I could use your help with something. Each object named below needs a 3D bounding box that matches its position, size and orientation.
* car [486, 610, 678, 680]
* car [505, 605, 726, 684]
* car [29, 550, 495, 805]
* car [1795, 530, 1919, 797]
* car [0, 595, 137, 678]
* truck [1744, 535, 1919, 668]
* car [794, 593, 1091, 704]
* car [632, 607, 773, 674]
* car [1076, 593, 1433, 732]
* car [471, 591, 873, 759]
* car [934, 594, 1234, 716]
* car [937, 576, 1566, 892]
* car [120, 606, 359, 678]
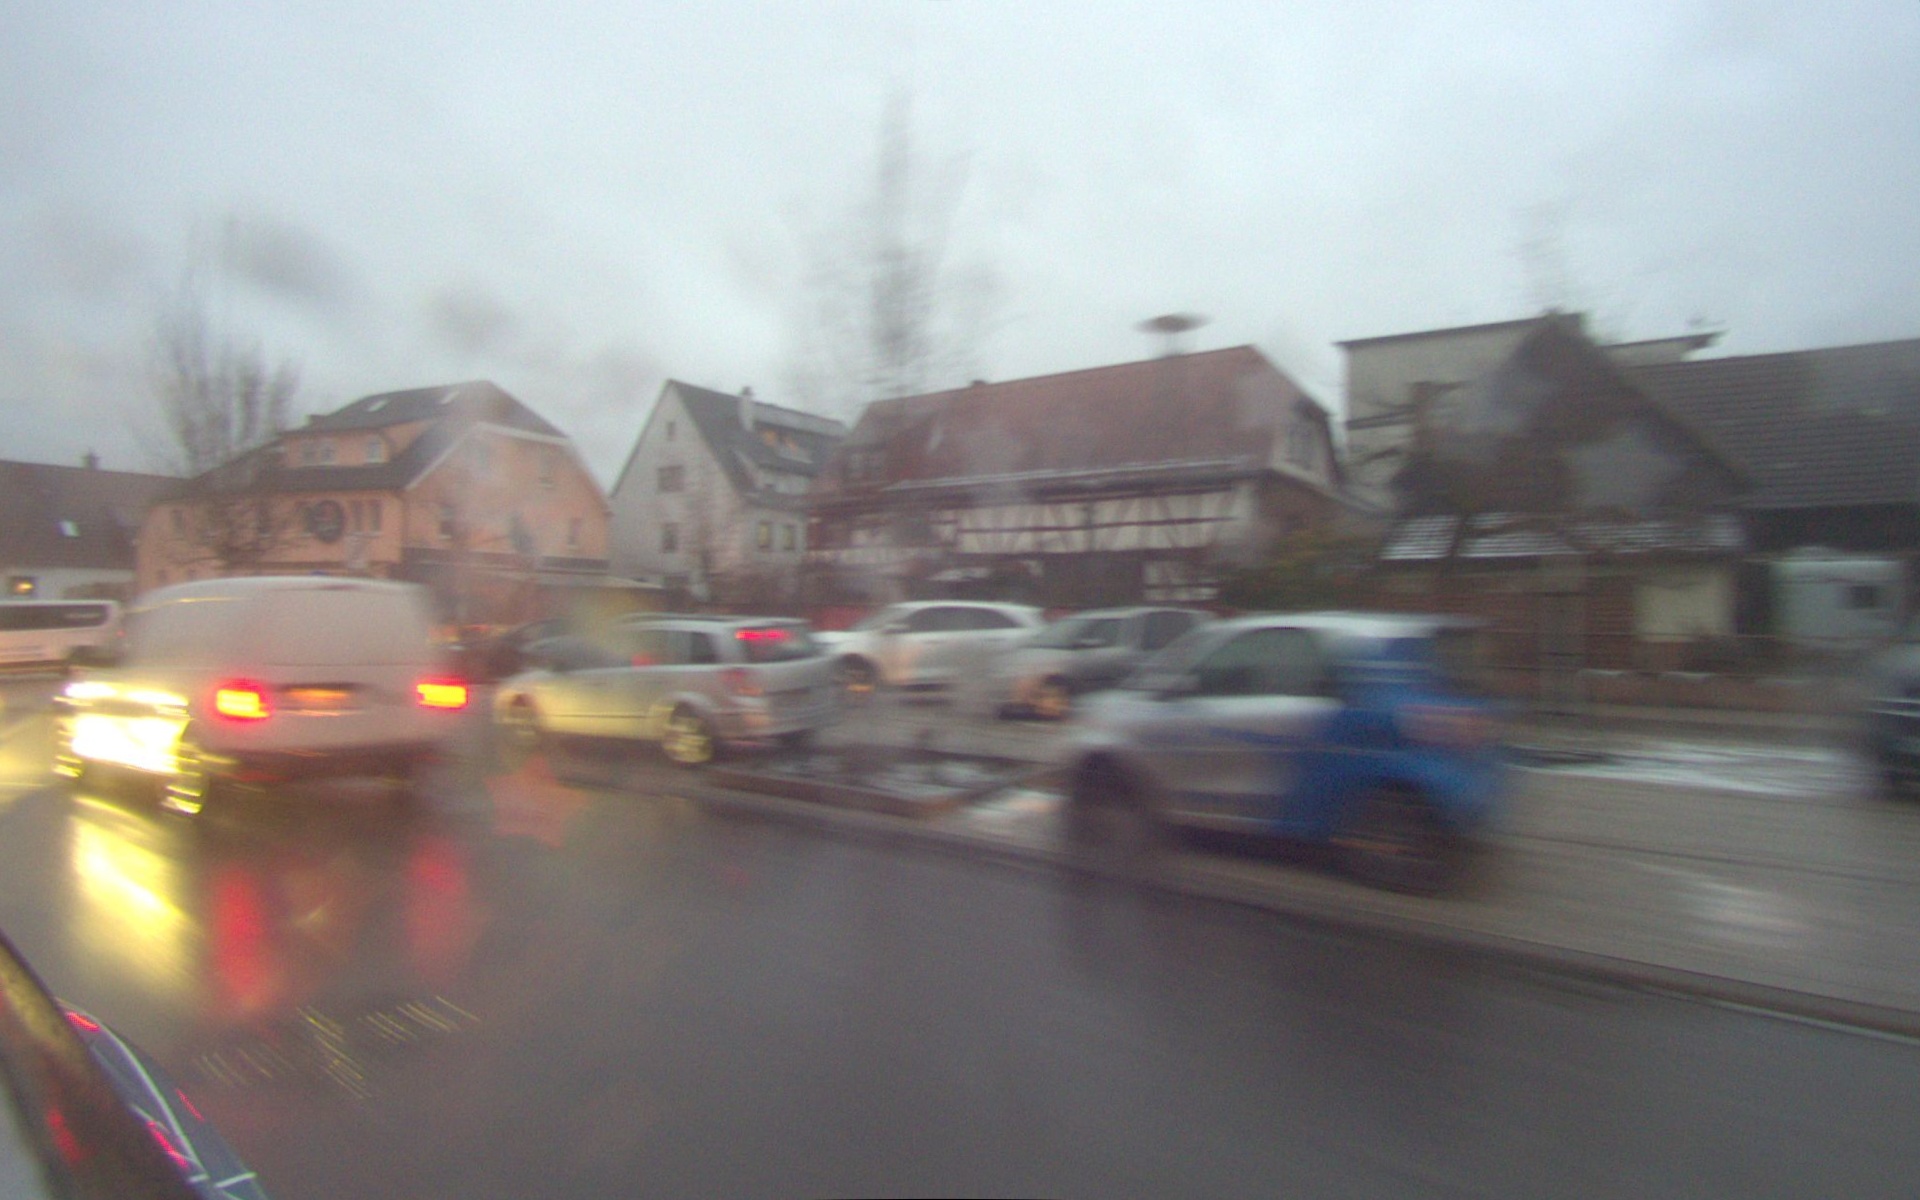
[{"bbox_3d":[-8.589,1.012,23.021,3.866,1.470,1.768,1,-3,-29],"label":"car"},{"bbox_3d":[-7.002,0.866,20.654,4.004,1.470,1.763,1,-1,-30],"label":"car"},{"bbox_3d":[-6.497,0.607,9.223,4.840,1.764,1.928,-1,-3,36],"label":"car"},{"bbox_3d":[9.446,0.502,7.810,5.305,1.900,2.080,1,-2,-18],"label":"car"},{"bbox_3d":[-23.675,0.907,24.386,1.989,1.960,5.703,-2,-1,39],"label":"car"},{"bbox_3d":[22.003,0.020,25.742,2.777,2.974,5.793,-1,0,33],"label":"truck"},{"bbox_3d":[-0.288,0.771,17.045,4.575,1.666,1.994,1,-1,-25],"label":"car"},{"bbox_3d":[-7.276,1.090,28.433,3.992,1.741,1.700,-1,0,36],"label":"car"},{"bbox_3d":[3.711,0.711,12.902,3.931,1.541,2.006,0,-1,-21],"label":"car"},{"bbox_3d":[-3.240,0.737,11.219,4.238,1.545,1.891,-1,-1,30],"label":"car"},{"bbox_3d":[1.828,0.787,14.828,4.042,1.594,1.726,2,-2,-25],"label":"car"},{"bbox_3d":[1.827,0.678,6.831,3.671,1.547,1.815,-1,-1,39],"label":"car"},{"bbox_3d":[-17.936,0.989,25.441,2.144,1.644,4.409,0,-1,26],"label":"car"}]
